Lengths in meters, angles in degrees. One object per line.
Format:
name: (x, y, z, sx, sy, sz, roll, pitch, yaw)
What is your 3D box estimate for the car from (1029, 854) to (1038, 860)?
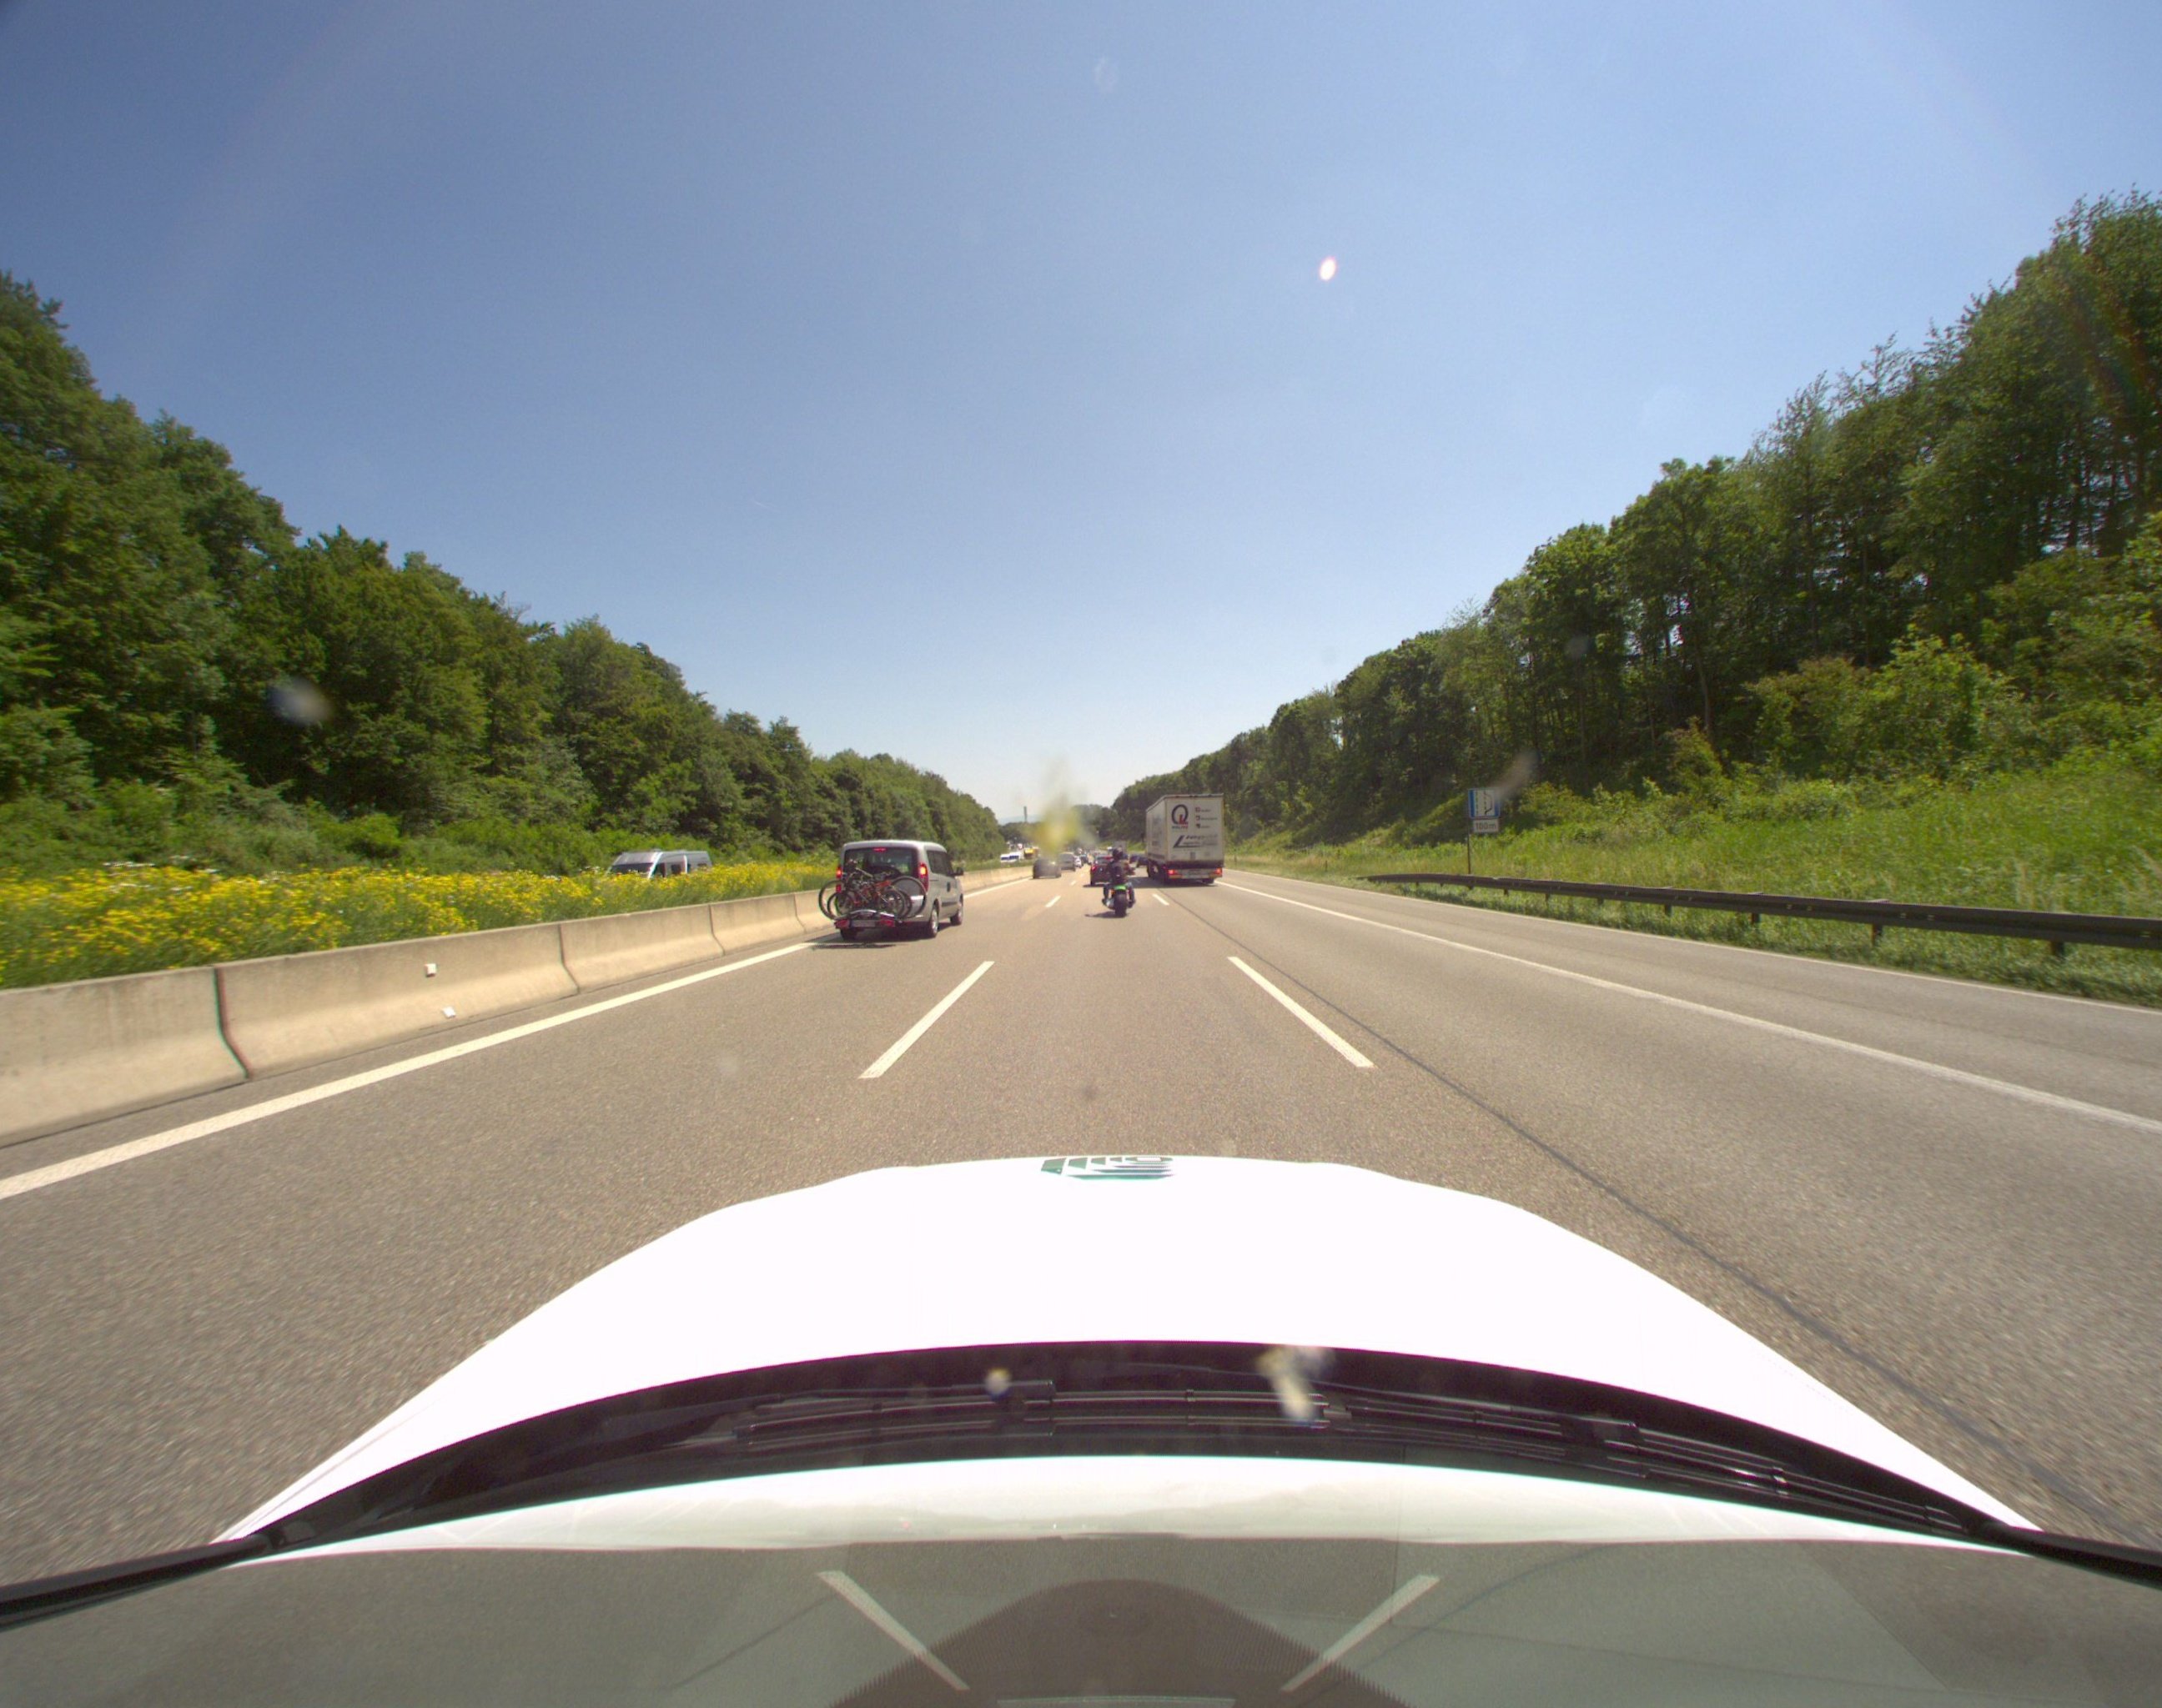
car: (-12.860, 0.893, 219.311, 1.904, 1.689, 4.835, 0, -1, 3)

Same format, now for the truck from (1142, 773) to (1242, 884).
truck: (5.386, -1.239, 43.560, 3.371, 4.717, 17.716, 0, 1, 2)

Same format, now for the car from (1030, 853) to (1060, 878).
car: (-2.448, 0.770, 56.725, 1.751, 1.543, 4.396, -1, 1, 1)

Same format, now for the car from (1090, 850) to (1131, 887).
car: (1.388, 0.635, 39.120, 1.839, 1.557, 4.441, -1, 1, 1)

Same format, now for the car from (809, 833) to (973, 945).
car: (-3.545, 0.595, 16.403, 1.891, 1.848, 5.484, -1, 0, 1)

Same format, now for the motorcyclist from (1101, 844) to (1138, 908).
motorcyclist: (0.945, 0.529, 19.901, 0.852, 1.515, 0.914, -1, 0, 2)

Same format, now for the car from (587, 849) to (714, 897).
car: (-17.408, 0.728, 33.313, 2.036, 1.807, 5.510, 0, -1, 3)

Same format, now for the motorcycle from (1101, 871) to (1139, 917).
motorcycle: (0.961, 0.952, 20.066, 0.859, 0.982, 2.132, -1, 0, 2)

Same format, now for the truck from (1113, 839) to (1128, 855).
truck: (8.425, -1.598, 176.456, 3.056, 3.346, 9.656, 0, 1, 1)

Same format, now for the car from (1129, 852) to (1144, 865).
car: (7.619, 0.590, 112.340, 1.824, 1.558, 4.121, -1, 1, 1)

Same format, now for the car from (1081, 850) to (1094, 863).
car: (0.982, 0.377, 117.505, 1.824, 1.810, 4.121, -1, 1, 1)

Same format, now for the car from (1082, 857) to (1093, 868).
car: (1.069, 1.468, 140.397, 1.824, 1.810, 4.121, -1, 1, 1)

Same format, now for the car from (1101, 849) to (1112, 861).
car: (4.130, 0.107, 132.519, 1.824, 1.810, 4.121, -1, 1, 1)

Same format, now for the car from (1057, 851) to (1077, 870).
car: (-1.368, 0.617, 80.932, 1.824, 1.810, 4.121, -1, 1, 1)

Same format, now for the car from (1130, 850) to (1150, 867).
car: (5.945, 0.440, 82.461, 1.824, 1.558, 4.121, -1, 1, 1)

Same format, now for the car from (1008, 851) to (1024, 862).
car: (-10.601, 0.423, 132.611, 1.904, 1.689, 4.835, 0, -1, 3)

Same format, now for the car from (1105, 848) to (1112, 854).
car: (7.882, -0.821, 230.763, 1.824, 1.558, 4.121, -1, 1, 1)

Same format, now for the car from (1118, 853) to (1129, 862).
car: (8.087, 0.694, 154.666, 1.824, 1.558, 4.121, -1, 1, 1)

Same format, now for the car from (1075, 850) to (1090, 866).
car: (0.219, 0.442, 101.376, 1.824, 1.810, 4.121, -1, 1, 1)

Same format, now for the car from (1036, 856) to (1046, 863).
car: (-9.864, 1.250, 200.532, 1.904, 1.689, 4.835, 0, -1, 3)
